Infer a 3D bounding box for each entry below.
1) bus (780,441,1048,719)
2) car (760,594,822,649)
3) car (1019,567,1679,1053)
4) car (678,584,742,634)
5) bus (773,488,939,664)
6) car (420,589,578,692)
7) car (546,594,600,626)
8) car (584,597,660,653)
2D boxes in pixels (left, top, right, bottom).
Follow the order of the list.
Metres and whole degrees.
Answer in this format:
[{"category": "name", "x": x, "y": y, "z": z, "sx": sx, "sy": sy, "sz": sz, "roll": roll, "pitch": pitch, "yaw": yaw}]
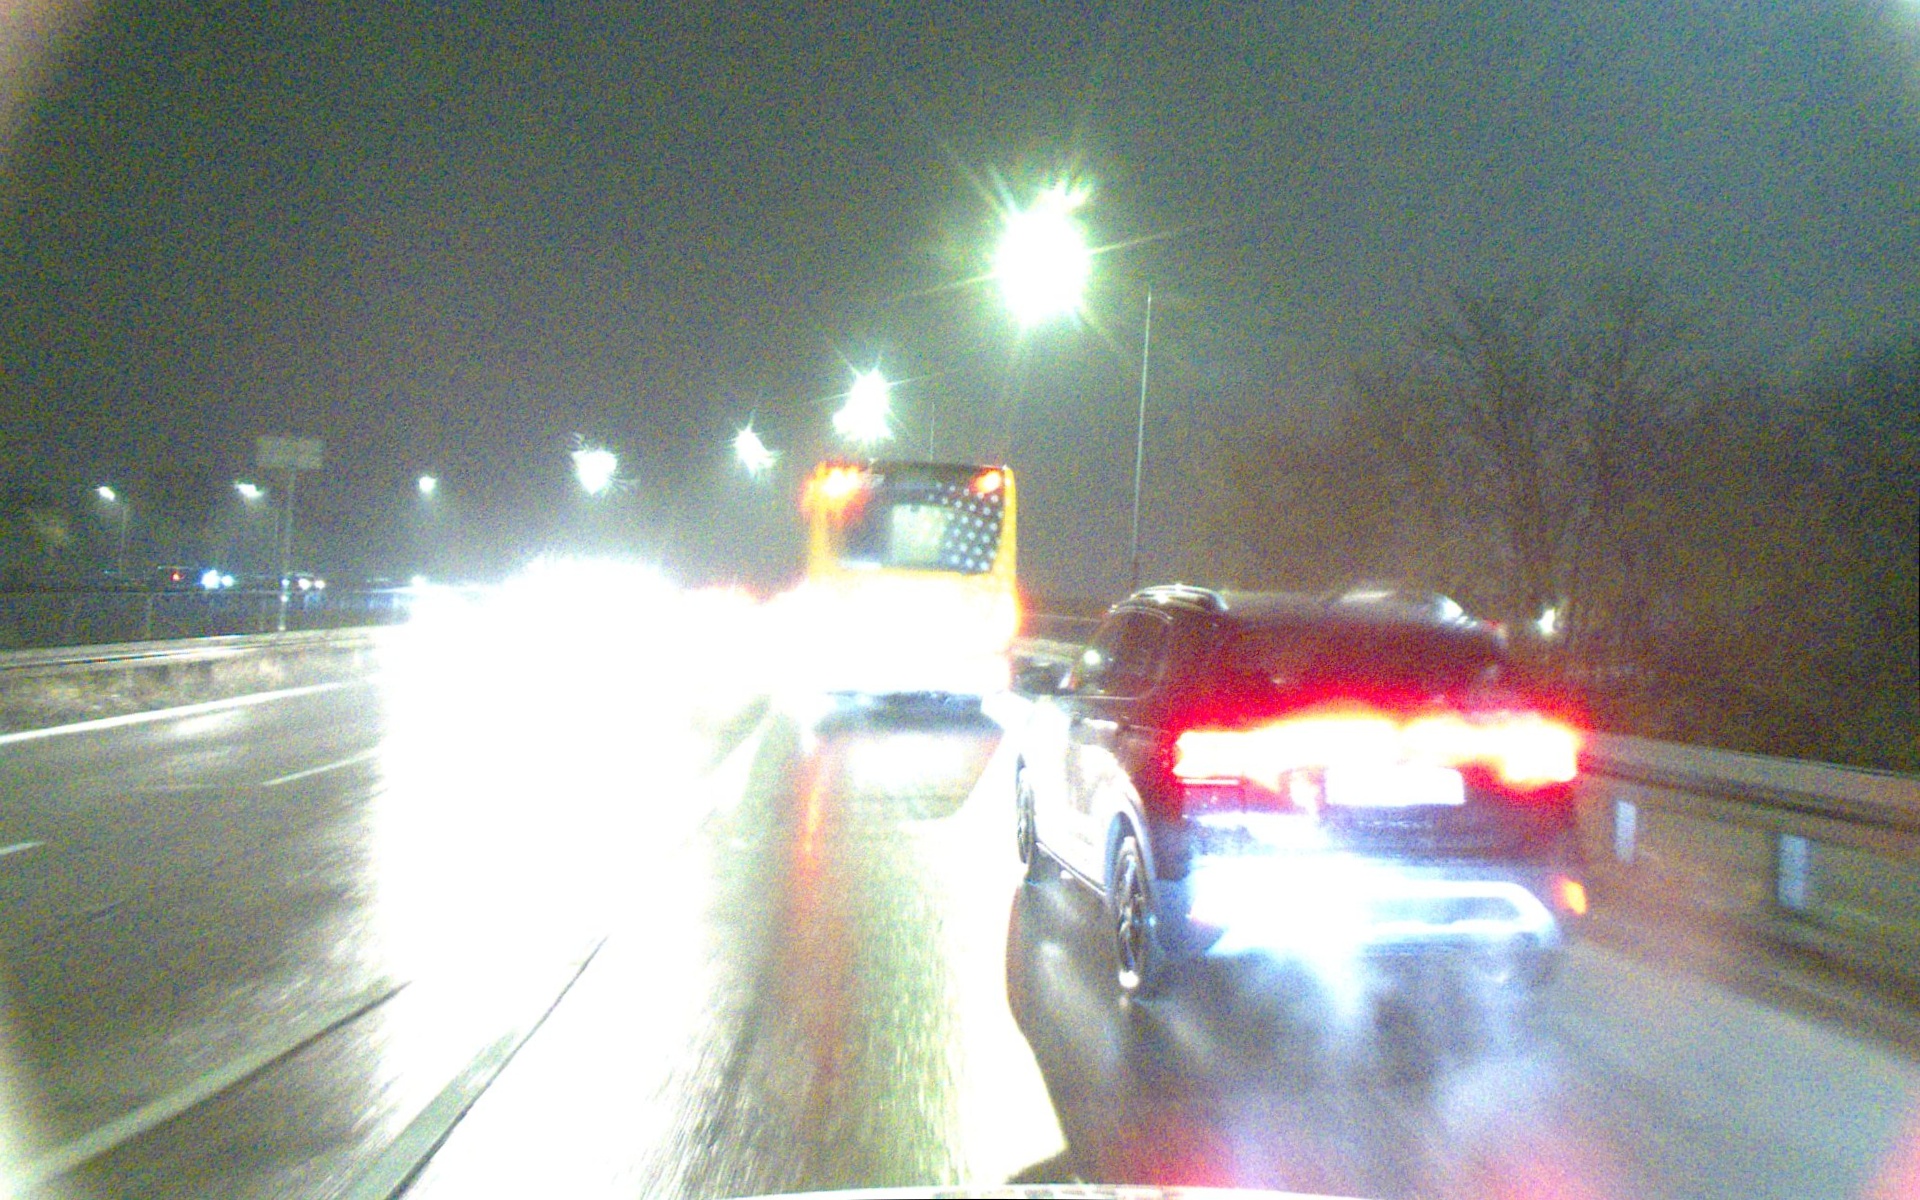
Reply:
[{"category": "bus", "x": -1.208, "y": -0.295, "z": 25.563, "sx": 3.024, "sy": 3.187, "sz": 12.679, "roll": 1, "pitch": 1, "yaw": -7}, {"category": "car", "x": -5.493, "y": 0.663, "z": 53.584, "sx": 1.607, "sy": 1.684, "sz": 3.699, "roll": 1, "pitch": 0, "yaw": -12}, {"category": "car", "x": 1.396, "y": 0.704, "z": 7.563, "sx": 1.819, "sy": 1.614, "sz": 3.996, "roll": 0, "pitch": 0, "yaw": -4}, {"category": "car", "x": -10.579, "y": 0.344, "z": 69.843, "sx": 1.964, "sy": 2.049, "sz": 3.977, "roll": 1, "pitch": 0, "yaw": -19}, {"category": "bus", "x": -2.451, "y": -0.582, "z": 36.000, "sx": 2.991, "sy": 3.185, "sz": 8.068, "roll": -4, "pitch": 2, "yaw": -7}, {"category": "car", "x": -7.460, "y": 0.613, "z": 27.129, "sx": 1.732, "sy": 1.544, "sz": 3.945, "roll": 1, "pitch": 0, "yaw": -4}, {"category": "car", "x": -18.296, "y": 0.464, "z": 78.102, "sx": 1.869, "sy": 1.464, "sz": 4.035, "roll": 1, "pitch": 0, "yaw": -23}, {"category": "car", "x": -9.195, "y": 0.655, "z": 45.232, "sx": 1.733, "sy": 1.452, "sz": 4.212, "roll": 0, "pitch": 0, "yaw": -7}]
